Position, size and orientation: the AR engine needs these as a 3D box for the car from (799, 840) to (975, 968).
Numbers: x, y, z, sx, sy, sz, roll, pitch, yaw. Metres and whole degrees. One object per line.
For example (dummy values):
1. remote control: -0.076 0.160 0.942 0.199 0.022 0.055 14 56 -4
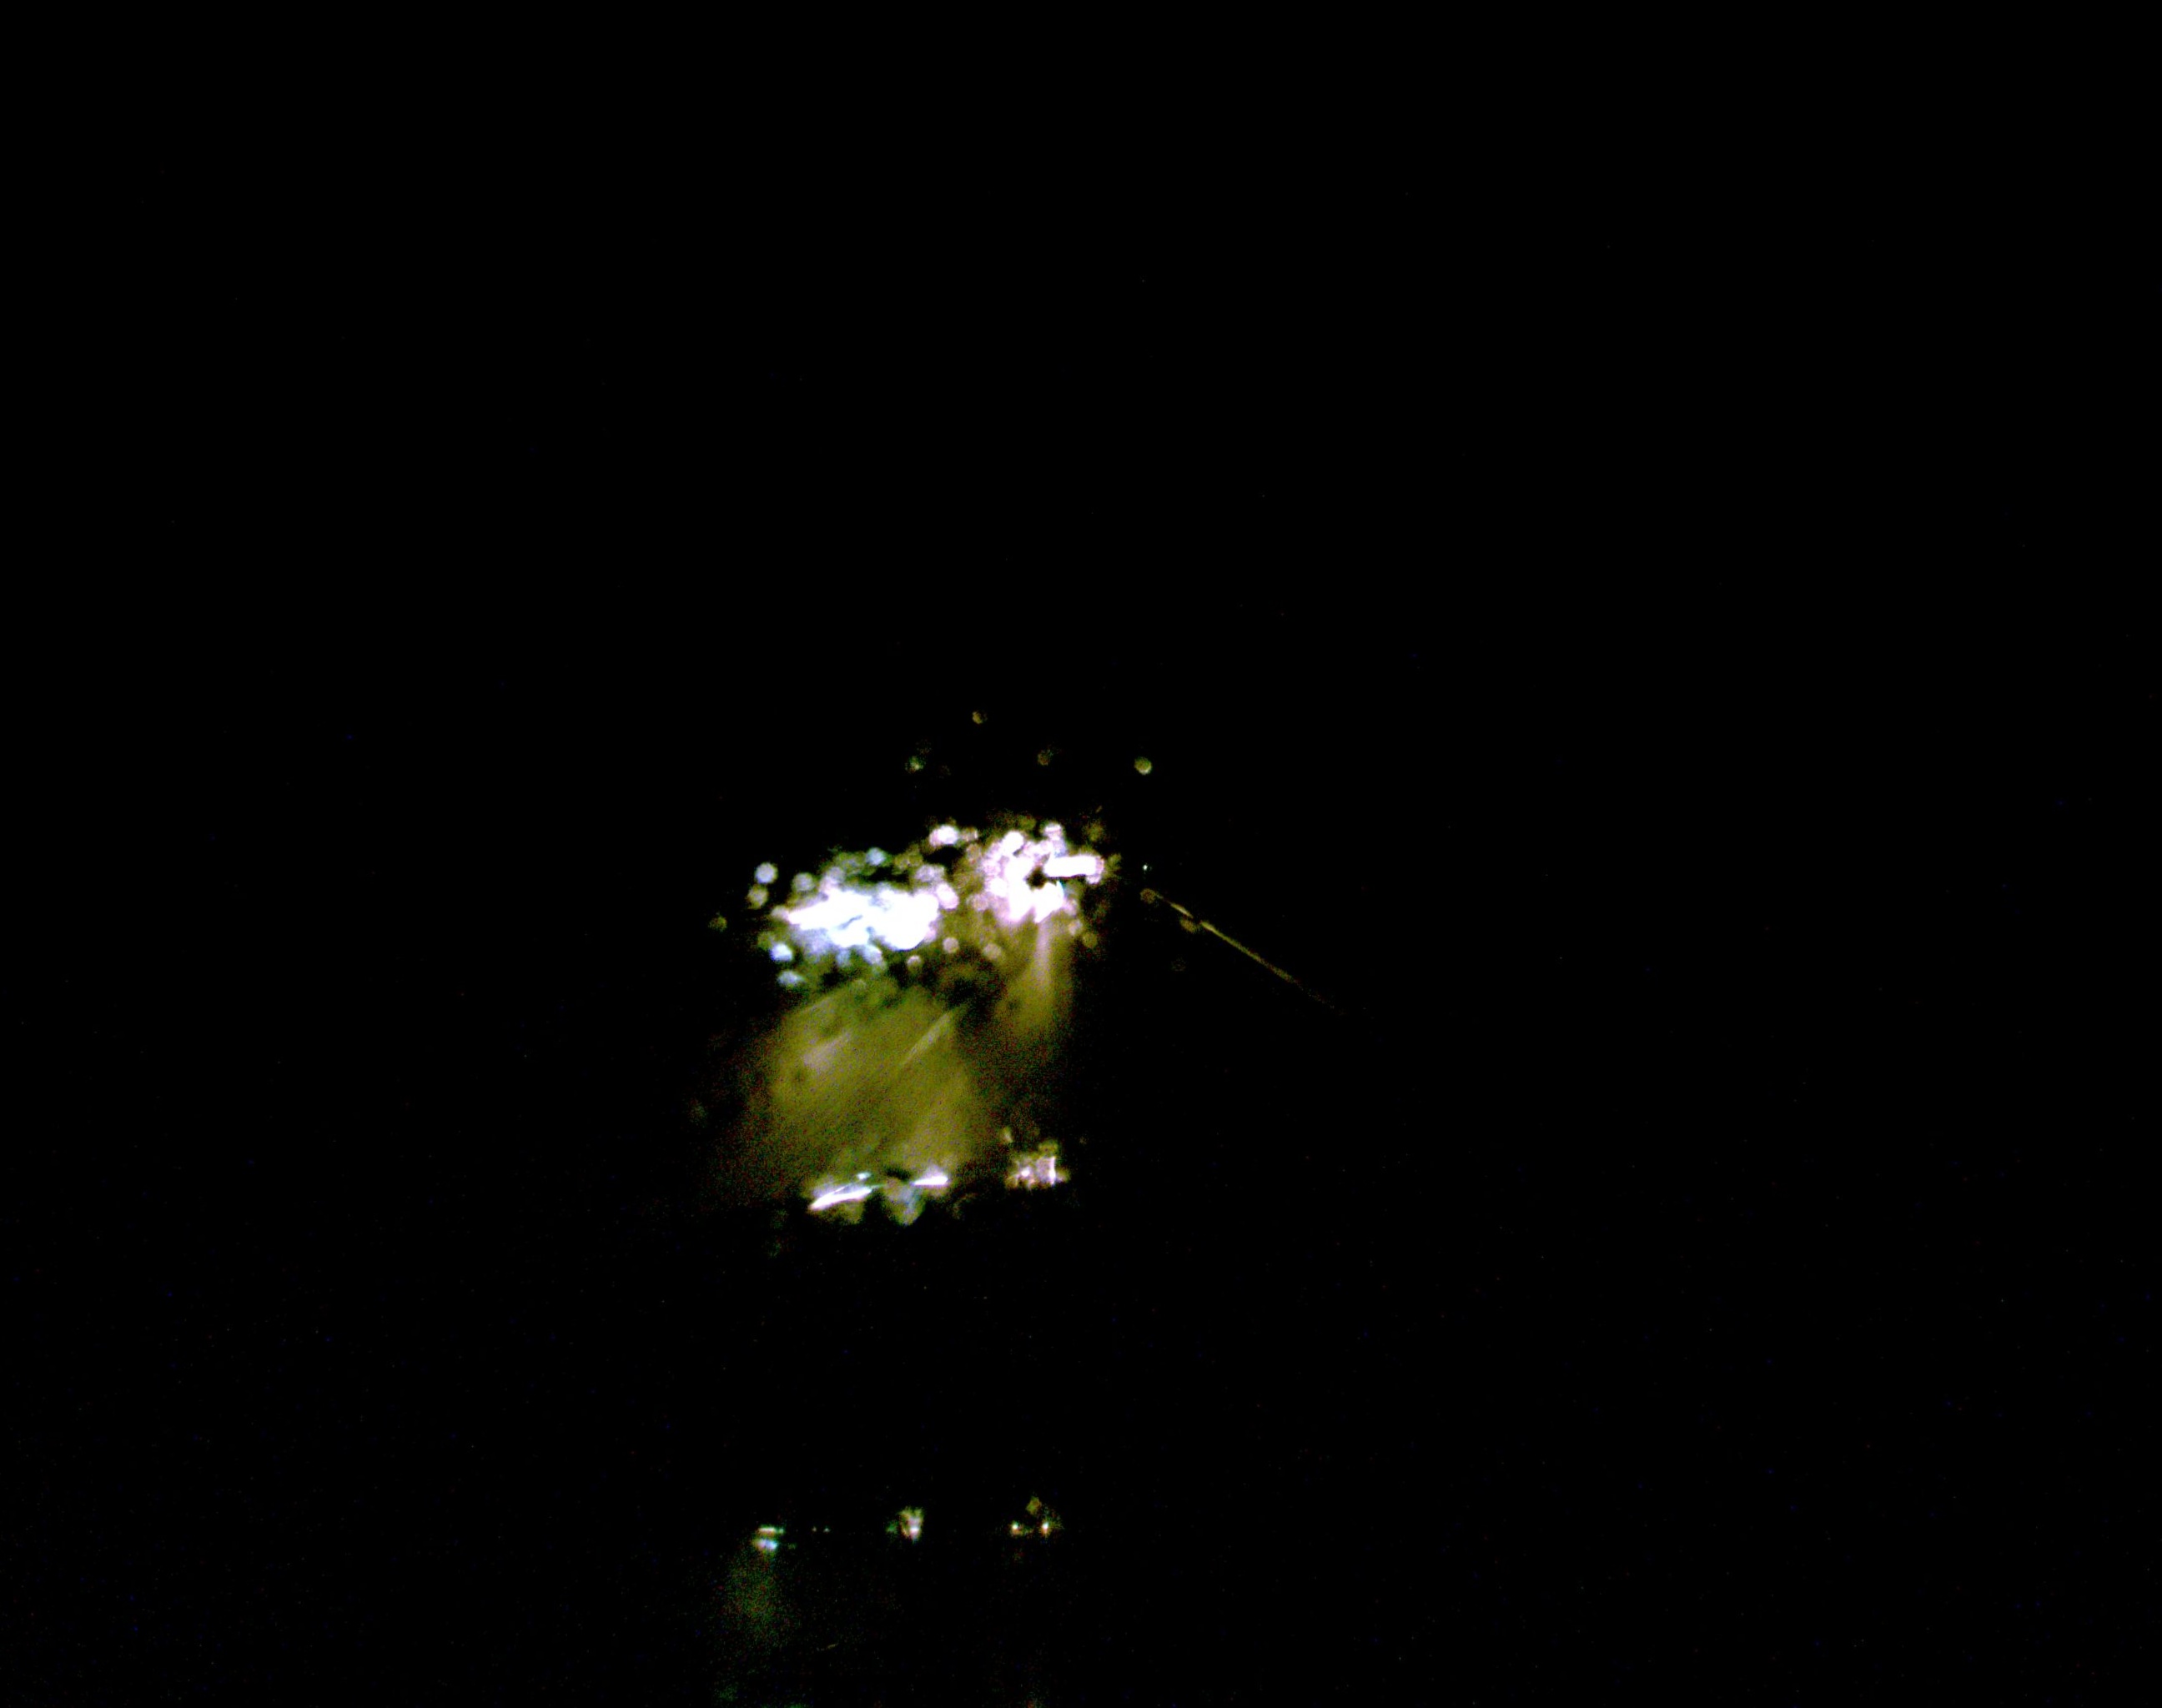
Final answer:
1. car: -2.844 0.671 12.854 1.766 1.675 4.054 1 0 0

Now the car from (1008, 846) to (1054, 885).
1. car: -2.474 0.569 41.387 1.987 1.823 4.000 1 0 0
